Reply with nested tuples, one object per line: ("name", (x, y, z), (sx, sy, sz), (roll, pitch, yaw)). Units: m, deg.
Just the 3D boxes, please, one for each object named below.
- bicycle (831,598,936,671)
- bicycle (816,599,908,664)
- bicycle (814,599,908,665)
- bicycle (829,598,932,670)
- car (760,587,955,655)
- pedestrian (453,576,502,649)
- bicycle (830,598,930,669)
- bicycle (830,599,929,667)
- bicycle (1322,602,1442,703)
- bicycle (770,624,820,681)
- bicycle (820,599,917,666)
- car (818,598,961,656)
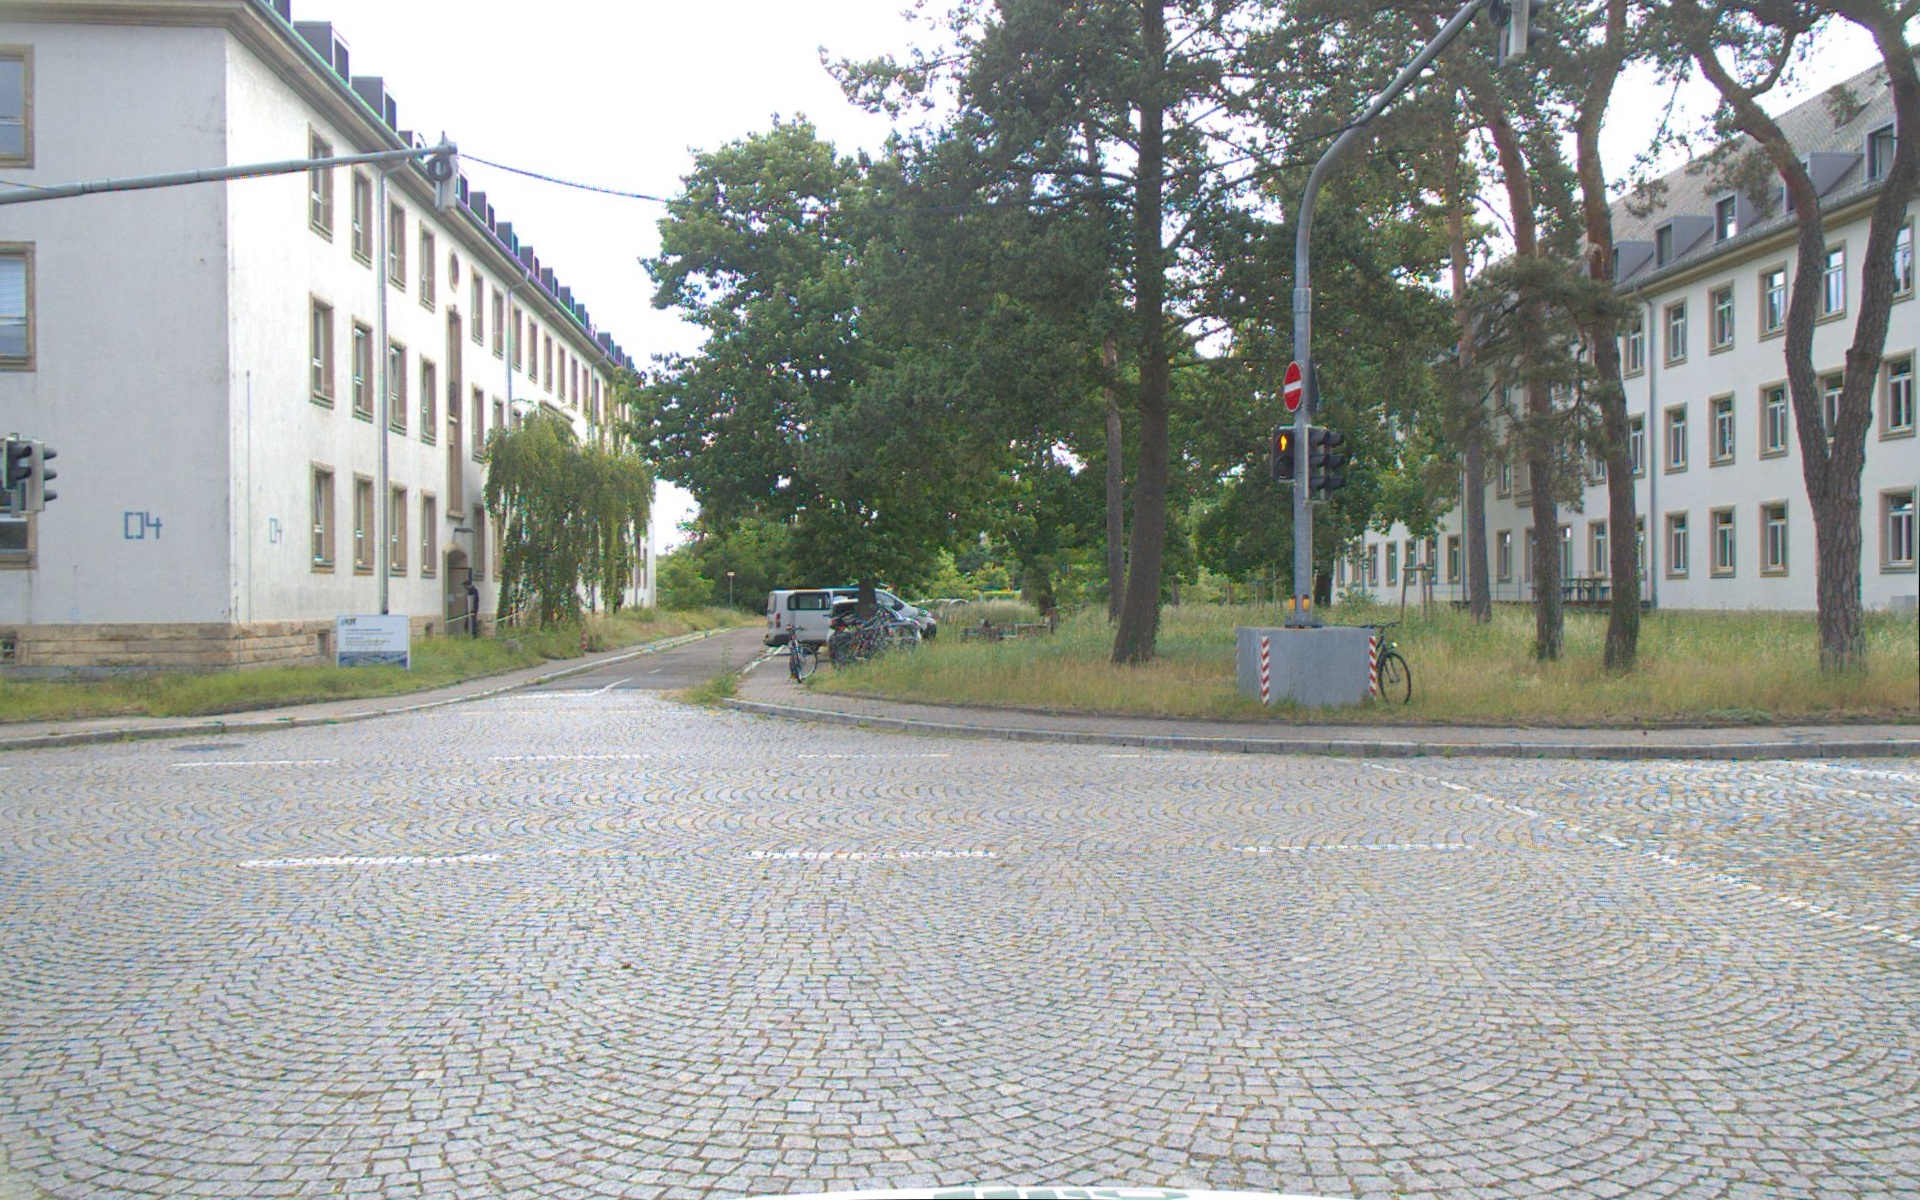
("bicycle", (-1.504, 0.669, 32.526), (2.028, 1.402, 0.619), (0, 0, -4))
("bicycle", (-2.186, 0.692, 36.862), (2.028, 1.402, 0.619), (0, 0, -4))
("bicycle", (-2.151, 0.686, 36.116), (2.028, 1.402, 0.619), (0, 0, -4))
("bicycle", (-1.591, 0.673, 33.192), (2.028, 1.402, 0.619), (0, 0, -4))
("car", (-3.132, 0.612, 50.334), (5.600, 1.944, 2.220), (-1, 0, -16))
("pedestrian", (-13.764, 0.350, 47.200), (1.064, 2.049, 1.022), (0, 0, 1))
("bicycle", (-1.636, 0.677, 33.814), (2.028, 1.402, 0.619), (0, 0, -4))
("bicycle", (-1.680, 0.684, 34.609), (2.028, 1.402, 0.619), (0, 0, -4))
("bicycle", (5.252, 0.630, 20.699), (0.891, 1.197, 1.872), (0, 0, -5))
("bicycle", (-3.044, 0.958, 30.619), (0.605, 0.980, 2.077), (0, 0, 3))
("bicycle", (-1.954, 0.683, 35.390), (2.028, 1.402, 0.619), (0, 0, -4))
("car", (-2.035, 0.752, 47.033), (3.859, 1.571, 1.996), (0, 0, -9))
